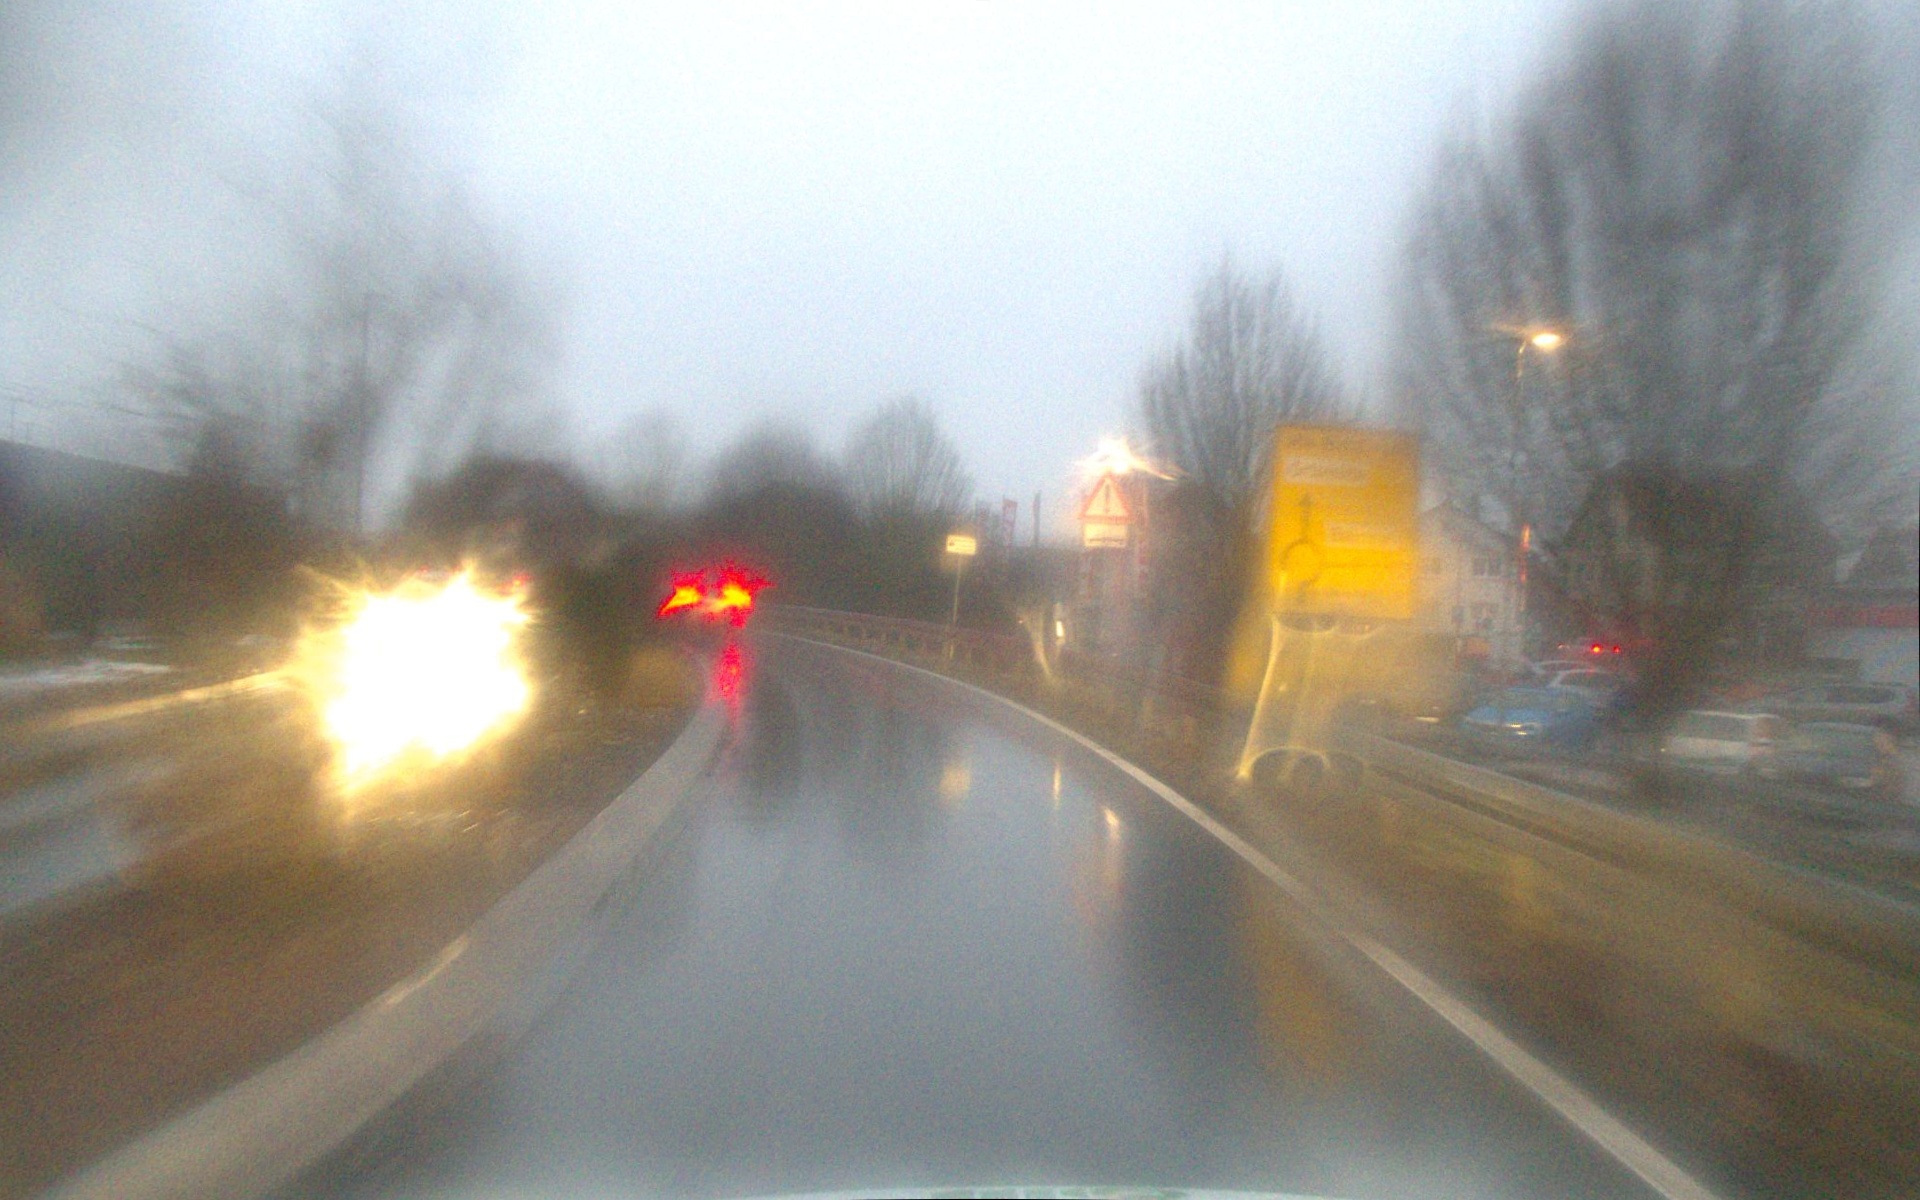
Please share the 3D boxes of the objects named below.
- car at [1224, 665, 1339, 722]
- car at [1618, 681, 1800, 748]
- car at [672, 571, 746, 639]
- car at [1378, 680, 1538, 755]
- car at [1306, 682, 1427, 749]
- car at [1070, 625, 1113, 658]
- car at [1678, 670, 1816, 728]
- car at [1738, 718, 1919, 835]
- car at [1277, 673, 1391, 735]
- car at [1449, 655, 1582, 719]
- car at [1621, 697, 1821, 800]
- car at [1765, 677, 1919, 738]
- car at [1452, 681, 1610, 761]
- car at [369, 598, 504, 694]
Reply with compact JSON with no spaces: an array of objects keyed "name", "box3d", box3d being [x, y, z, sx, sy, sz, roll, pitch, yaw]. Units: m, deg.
[{"name":"car","box3d":[9.509,2.722,48.733,1.762,1.464,3.984,1,0,36]},{"name":"car","box3d":[20.434,3.088,45.202,4.235,1.450,1.737,2,0,40]},{"name":"car","box3d":[-7.037,0.139,46.257,1.909,1.748,3.991,2,0,-9]},{"name":"car","box3d":[11.622,2.670,38.399,1.896,1.480,4.562,1,-1,40]},{"name":"car","box3d":[10.472,2.910,42.419,1.599,1.445,3.984,1,0,36]},{"name":"car","box3d":[6.915,2.170,87.213,1.897,1.574,3.999,1,0,-1]},{"name":"car","box3d":[24.701,3.079,51.934,3.756,1.526,1.566,2,0,31]},{"name":"car","box3d":[13.948,2.716,26.183,1.819,1.421,4.154,1,0,42]},{"name":"car","box3d":[10.344,2.824,45.583,1.599,1.445,3.984,1,0,36]},{"name":"car","box3d":[18.967,2.947,56.513,3.956,1.901,1.716,2,0,37]},{"name":"car","box3d":[13.493,2.543,29.182,1.871,1.421,4.674,1,0,43]},{"name":"car","box3d":[24.402,2.939,45.599,3.763,1.375,1.563,2,0,36]},{"name":"car","box3d":[12.425,2.573,35.833,1.869,1.421,4.157,1,0,40]},{"name":"car","box3d":[-9.468,0.804,30.192,1.662,1.606,3.878,1,-1,-8]}]
